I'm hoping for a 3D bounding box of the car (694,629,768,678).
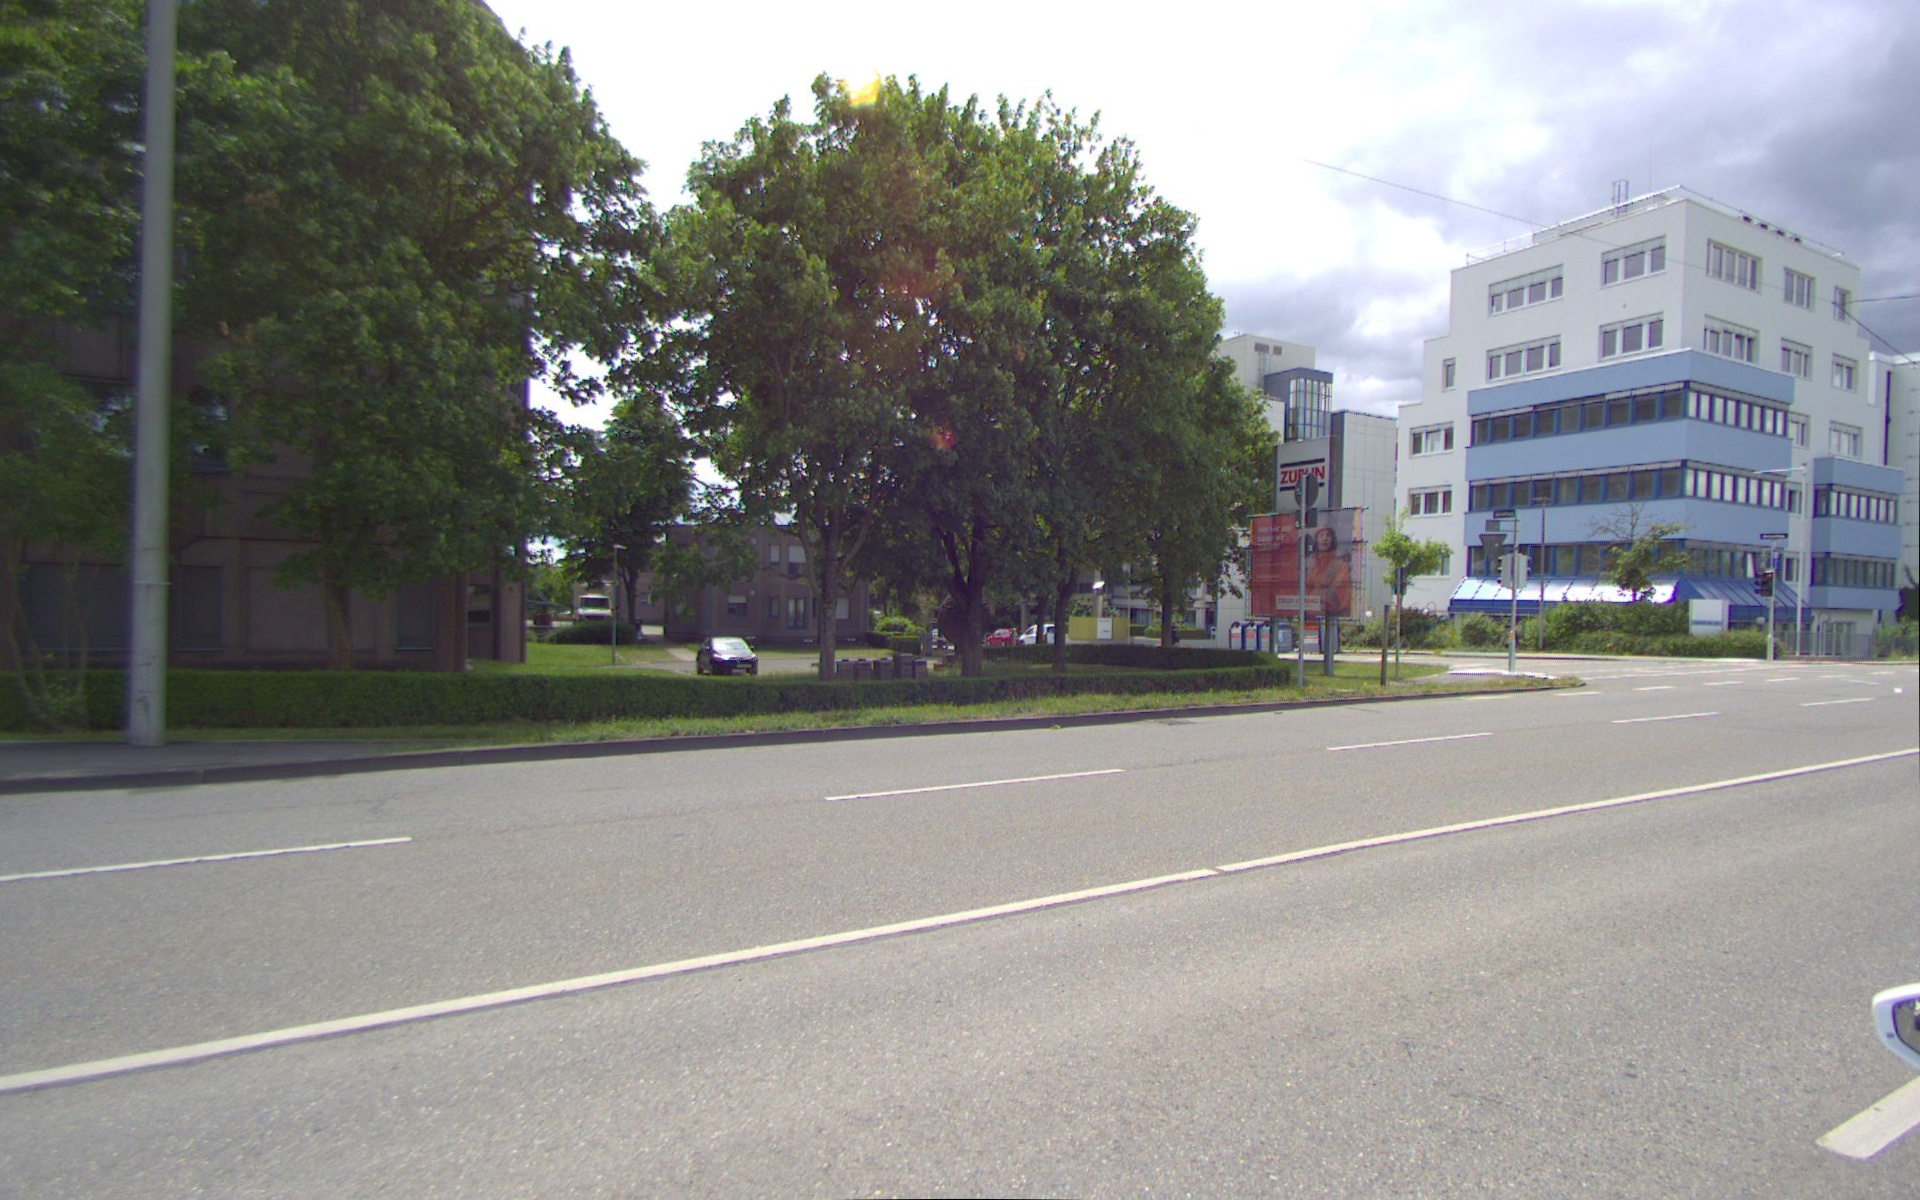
[{"bbox_3d":[-8.734,2.007,38.127,1.764,1.750,3.972,1,-3,-28],"label":"car"}]

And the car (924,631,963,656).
[{"bbox_3d":[-1.483,3.815,89.326,1.786,2.040,3.968,1,0,-30],"label":"car"}]

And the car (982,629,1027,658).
[{"bbox_3d":[3.452,3.396,79.069,1.868,2.040,3.973,1,0,-26],"label":"car"}]

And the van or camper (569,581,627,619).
[{"bbox_3d":[-22.100,-0.010,61.195,2.332,2.132,5.160,2,0,-31],"label":"van or camper"}]

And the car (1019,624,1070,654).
[{"bbox_3d":[6.200,2.865,74.144,1.974,2.006,3.973,1,0,-26],"label":"car"}]

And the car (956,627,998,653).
[{"bbox_3d":[1.416,3.332,84.113,1.848,2.040,3.972,1,0,-27],"label":"car"}]
